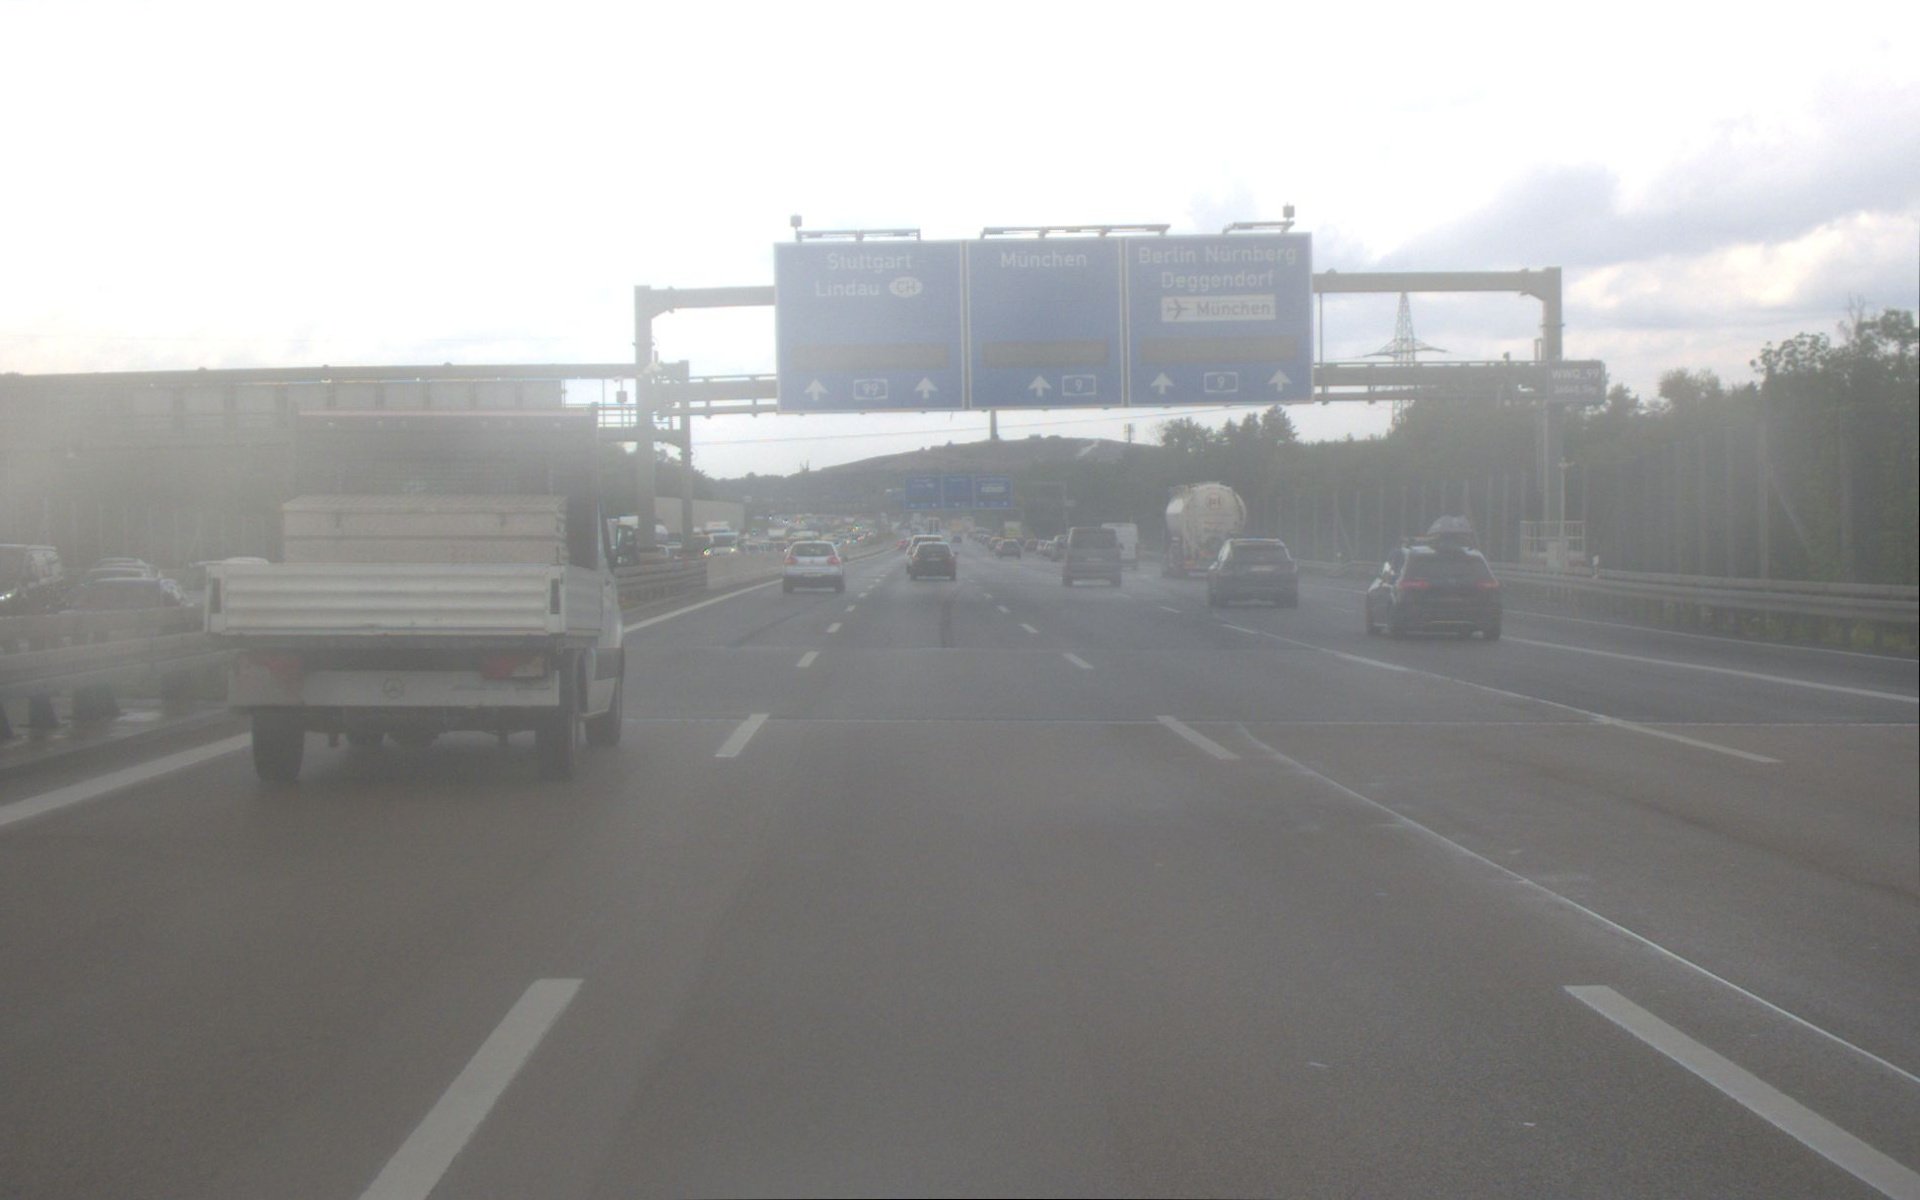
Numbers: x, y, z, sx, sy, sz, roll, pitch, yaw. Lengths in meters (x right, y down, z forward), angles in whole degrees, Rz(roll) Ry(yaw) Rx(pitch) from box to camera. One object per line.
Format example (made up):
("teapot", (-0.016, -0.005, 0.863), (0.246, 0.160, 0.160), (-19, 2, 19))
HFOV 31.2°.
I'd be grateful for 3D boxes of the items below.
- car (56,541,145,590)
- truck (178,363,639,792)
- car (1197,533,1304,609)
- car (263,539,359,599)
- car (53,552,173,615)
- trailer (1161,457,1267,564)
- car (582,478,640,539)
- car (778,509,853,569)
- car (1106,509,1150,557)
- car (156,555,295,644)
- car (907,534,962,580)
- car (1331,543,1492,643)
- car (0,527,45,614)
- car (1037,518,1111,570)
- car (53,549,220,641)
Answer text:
("car", (-26.826, -1.087, 107.418), (1.762, 1.421, 4.342), (0, 2, -1))
("truck", (-3.470, -0.219, 23.183), (2.352, 2.400, 7.359), (1, 1, -4))
("car", (6.875, -0.713, 81.754), (2.045, 1.693, 5.007), (0, 2, -1))
("car", (-18.495, -0.914, 98.177), (1.882, 1.593, 5.136), (0, 2, -1))
("car", (-18.681, -0.386, 75.961), (1.703, 1.284, 4.188), (0, 2, -1))
("trailer", (10.286, -3.628, 140.285), (3.332, 4.161, 11.839), (1, 1, 0))
("car", (-19.362, -5.076, 191.172), (2.497, 3.289, 7.627), (0, 1, 0))
("car", (-4.165, -1.798, 99.616), (2.045, 1.693, 4.000), (0, 1, -1))
("car", (8.795, -3.517, 180.034), (2.045, 2.489, 4.000), (0, 1, -1))
("car", (-14.823, -0.038, 69.605), (1.872, 1.642, 4.722), (0, 2, -1))
("car", (-0.976, -1.668, 132.181), (2.045, 1.693, 4.000), (0, 1, 0))
("car", (7.492, -0.140, 57.512), (2.105, 1.600, 5.065), (0, 1, 1))
("car", (-22.034, -0.668, 77.518), (1.583, 1.884, 4.821), (0, 2, -1))
("car", (3.805, -1.884, 115.587), (2.097, 1.693, 4.001), (0, 1, -4))
("car", (-13.498, -0.111, 56.585), (1.645, 1.435, 4.730), (0, 1, 0))
